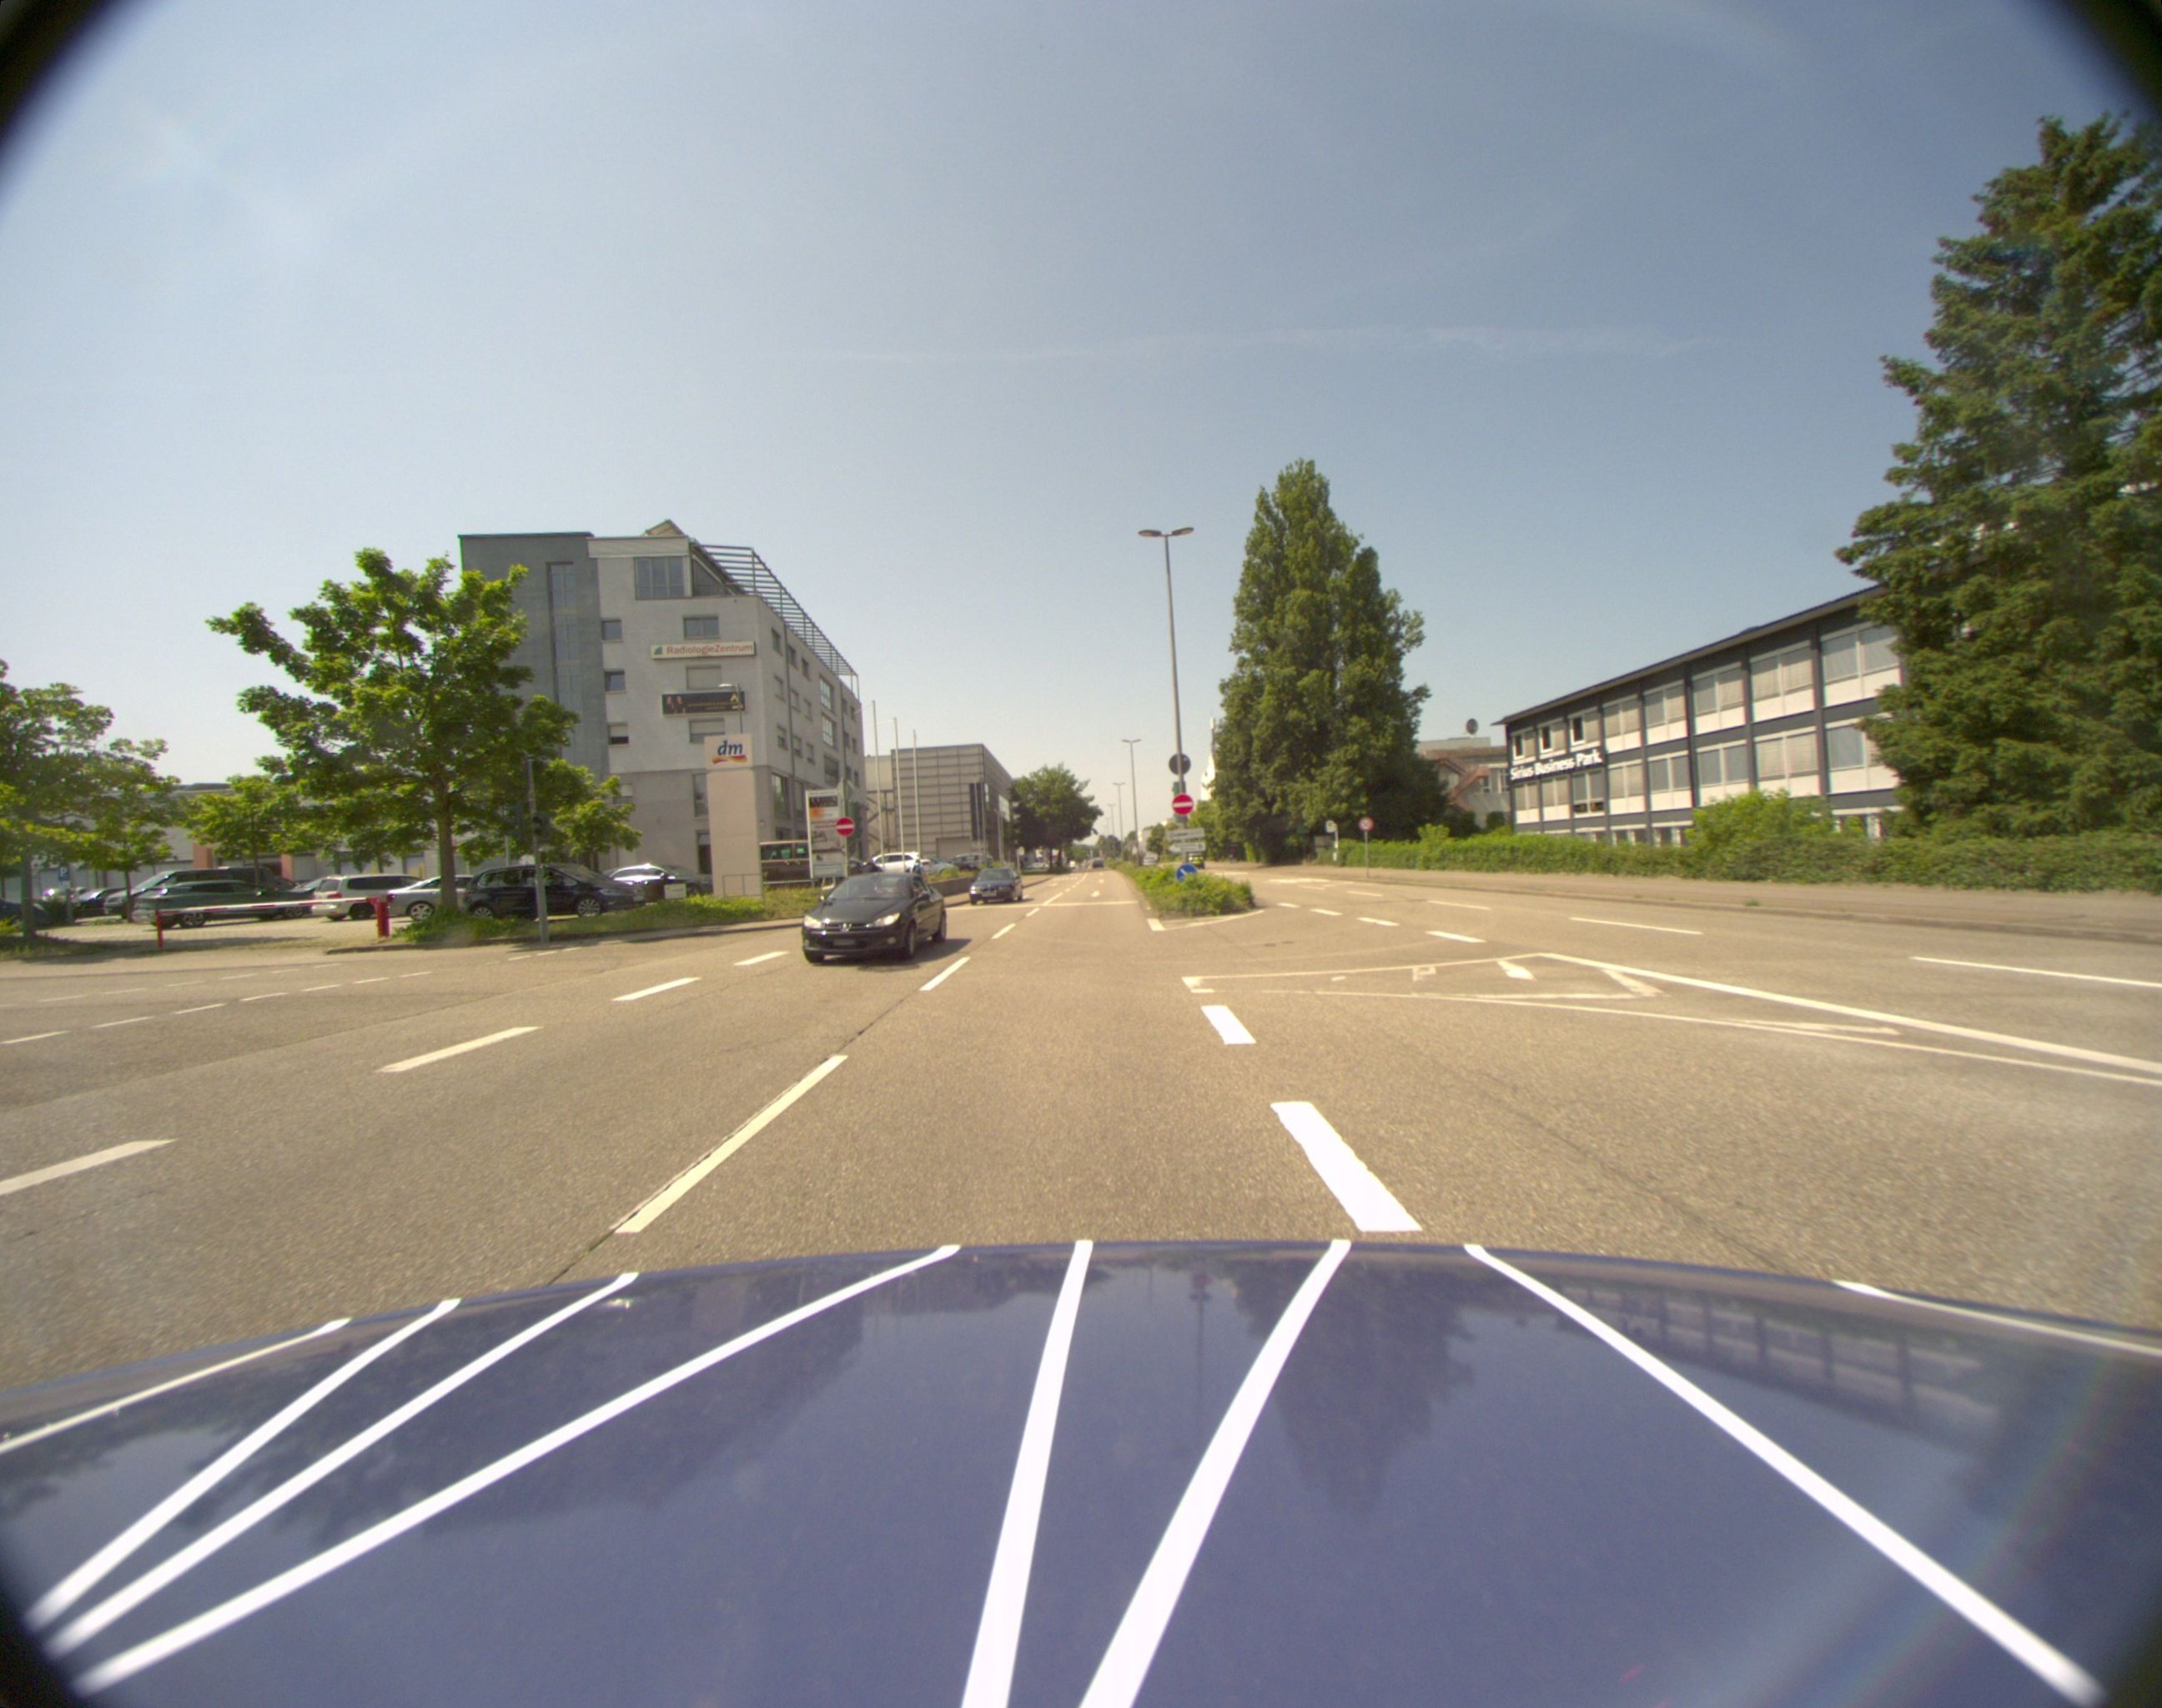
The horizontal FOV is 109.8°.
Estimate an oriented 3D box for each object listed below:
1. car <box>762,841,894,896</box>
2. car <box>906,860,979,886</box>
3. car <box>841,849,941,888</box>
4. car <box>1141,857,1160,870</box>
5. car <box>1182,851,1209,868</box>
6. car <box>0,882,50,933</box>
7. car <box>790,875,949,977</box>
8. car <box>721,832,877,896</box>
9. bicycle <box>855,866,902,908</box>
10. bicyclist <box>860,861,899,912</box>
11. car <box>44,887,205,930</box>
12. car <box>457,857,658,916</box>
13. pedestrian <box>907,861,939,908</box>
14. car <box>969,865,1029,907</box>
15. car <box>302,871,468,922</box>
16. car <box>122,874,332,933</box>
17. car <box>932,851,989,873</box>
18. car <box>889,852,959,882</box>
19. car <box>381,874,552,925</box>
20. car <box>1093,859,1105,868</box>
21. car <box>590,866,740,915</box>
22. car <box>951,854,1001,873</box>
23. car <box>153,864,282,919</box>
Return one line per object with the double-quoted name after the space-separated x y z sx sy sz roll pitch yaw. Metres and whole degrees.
-10.055 0.539 30.414 4.420 1.690 2.000 -6 1 2 "car"
-9.674 1.330 53.341 4.761 1.373 1.799 -5 1 -3 "car"
-9.649 0.728 38.869 4.475 1.600 2.096 -4 1 -3 "car"
8.193 1.082 90.124 1.764 1.410 4.091 -3 1 -1 "car"
11.557 0.543 76.704 1.899 1.551 4.286 -2 0 -2 "car"
-40.511 2.015 27.056 1.669 1.778 4.199 -4 -2 23 "car"
-3.399 1.104 12.875 1.641 1.348 3.500 -2 0 1 "car"
-10.145 0.345 27.664 4.706 1.787 2.183 -6 0 1 "car"
-6.103 0.960 23.014 0.759 1.126 1.907 -4 0 2 "bicycle"
-6.112 0.971 23.096 0.776 1.455 1.091 -4 1 2 "bicyclist"
-41.949 2.335 33.450 1.761 1.565 4.006 -2 0 20 "car"
-13.882 0.827 20.356 3.998 1.331 1.863 -2 0 -4 "car"
-5.851 1.106 28.193 0.830 1.616 1.005 -4 2 2 "pedestrian"
-3.154 1.200 29.792 1.711 1.316 3.955 -4 0 2 "car"
-26.039 1.533 28.604 1.669 1.590 4.199 -2 1 26 "car"
-31.774 1.782 28.502 1.996 1.702 4.752 -4 0 20 "car"
-9.599 0.623 60.755 4.137 1.477 1.758 -4 1 0 "car"
-9.682 0.775 46.924 4.001 1.477 1.757 -4 1 -12 "car"
-19.958 1.437 24.917 4.005 1.390 1.812 -2 0 -25 "car"
2.931 1.578 122.968 1.867 1.390 4.001 -2 0 3 "car"
-13.497 1.156 24.833 3.882 1.331 1.755 -2 0 -4 "car"
-9.432 0.830 68.471 4.137 1.477 1.758 -3 1 0 "car"
-38.250 1.629 33.734 1.669 2.179 3.436 -4 -1 28 "car"
